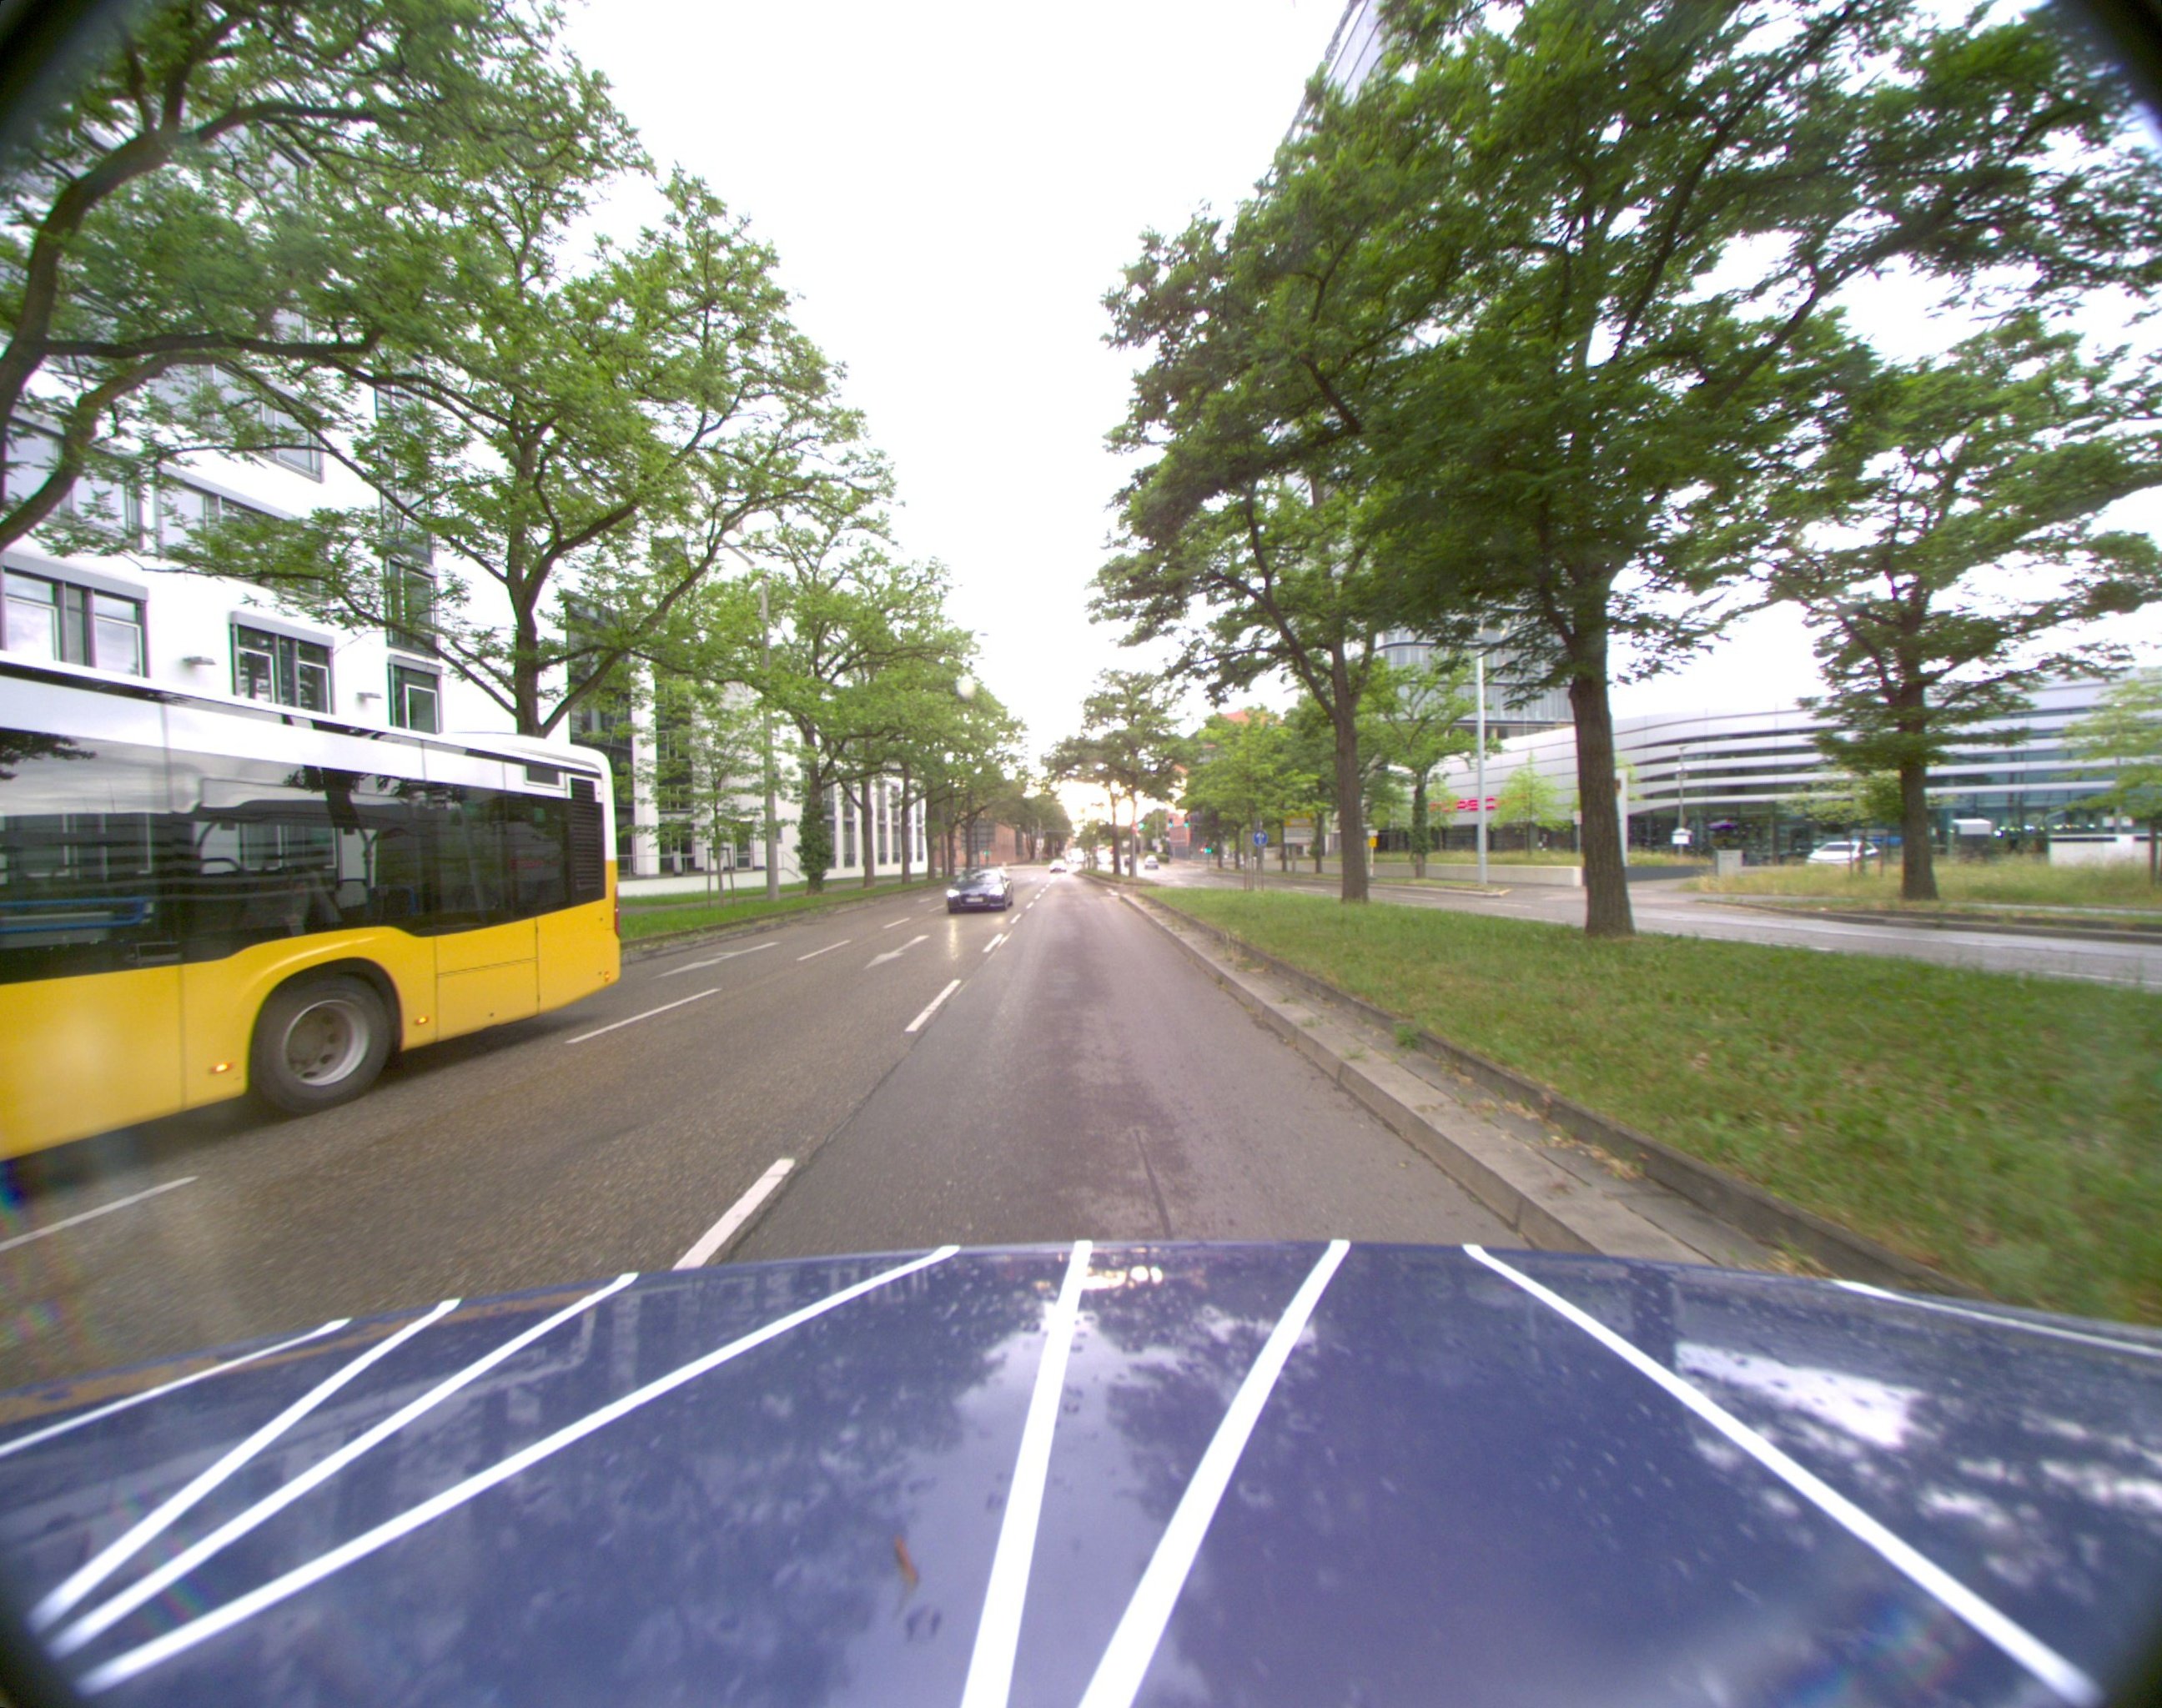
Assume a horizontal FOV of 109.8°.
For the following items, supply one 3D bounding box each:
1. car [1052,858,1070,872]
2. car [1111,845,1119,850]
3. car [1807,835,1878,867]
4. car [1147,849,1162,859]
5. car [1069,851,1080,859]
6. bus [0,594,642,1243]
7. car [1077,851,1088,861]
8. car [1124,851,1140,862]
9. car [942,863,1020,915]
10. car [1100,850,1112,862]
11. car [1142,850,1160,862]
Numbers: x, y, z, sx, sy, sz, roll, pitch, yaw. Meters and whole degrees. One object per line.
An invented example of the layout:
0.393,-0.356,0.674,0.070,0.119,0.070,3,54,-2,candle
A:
-2.212,1.223,84.907,1.625,1.426,3.551,-3,1,3,car
10.293,-1.894,230.328,1.783,1.445,3.998,-3,1,-2,car
39.155,-0.164,39.042,4.006,1.405,1.774,-4,1,-33,car
11.576,0.027,120.615,1.783,1.445,3.998,-3,1,-2,car
-1.261,0.271,153.819,1.998,1.576,4.000,-1,0,1,car
-6.597,0.361,2.701,2.734,3.133,12.145,-3,0,1,bus
0.276,0.388,134.819,1.998,1.707,4.000,-1,0,1,car
7.699,0.335,114.981,1.846,1.581,4.172,-1,1,-2,car
-3.187,1.093,25.105,1.878,1.346,4.331,-3,1,0,car
4.330,0.396,130.716,1.998,2.002,4.000,-1,0,1,car
9.539,0.306,103.846,1.894,1.445,3.998,-3,1,-2,car
